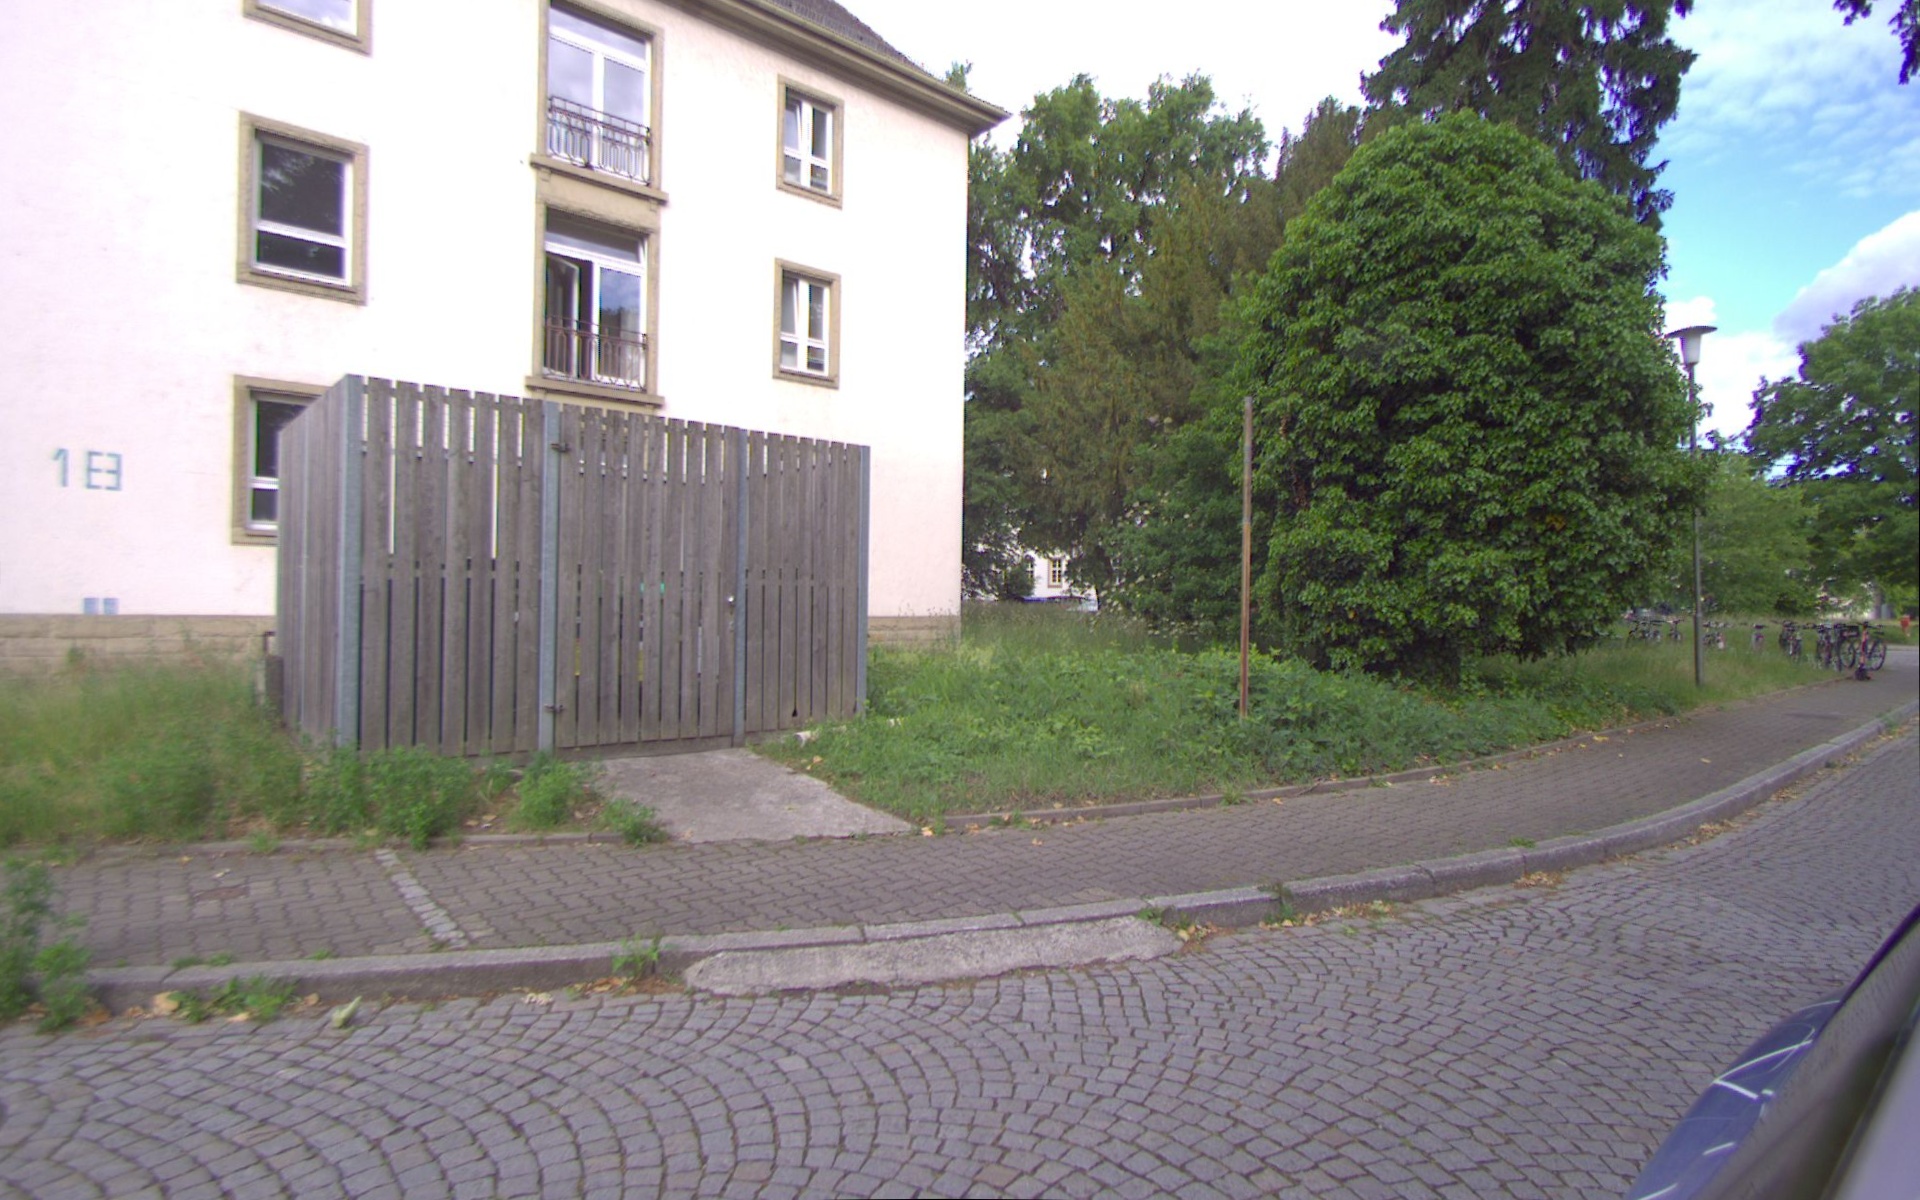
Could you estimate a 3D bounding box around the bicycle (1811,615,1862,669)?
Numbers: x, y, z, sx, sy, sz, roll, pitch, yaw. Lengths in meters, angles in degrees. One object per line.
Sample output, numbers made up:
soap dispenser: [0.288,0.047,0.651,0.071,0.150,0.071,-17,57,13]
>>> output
bicycle: [19.556,0.912,22.602,0.547,1.128,1.750,0,0,31]

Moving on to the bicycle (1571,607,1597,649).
bicycle: [17.423,0.760,28.241,0.440,1.126,1.629,0,0,38]

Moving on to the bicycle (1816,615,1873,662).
bicycle: [22.169,0.941,25.387,0.471,1.087,1.613,0,1,18]

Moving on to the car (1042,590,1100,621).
car: [6.237,0.289,56.820,3.193,1.682,1.437,0,0,-42]

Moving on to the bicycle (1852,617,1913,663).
bicycle: [22.607,0.969,24.829,0.471,1.020,1.613,0,1,18]

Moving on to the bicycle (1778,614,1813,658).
bicycle: [21.221,0.887,25.712,0.474,1.020,1.648,0,1,32]

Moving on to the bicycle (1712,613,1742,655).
bicycle: [20.182,0.875,26.641,0.474,1.020,1.648,0,1,32]

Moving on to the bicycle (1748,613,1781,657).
bicycle: [20.744,0.881,26.107,0.474,1.020,1.648,0,1,32]

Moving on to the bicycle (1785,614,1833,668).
bicycle: [19.112,0.905,22.813,0.547,1.128,1.785,0,0,31]

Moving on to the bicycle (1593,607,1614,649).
bicycle: [17.850,0.760,28.090,0.474,1.126,1.744,0,0,32]

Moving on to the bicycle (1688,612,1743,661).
bicycle: [17.755,0.839,23.819,0.611,1.078,1.811,0,0,23]

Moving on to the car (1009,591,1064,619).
car: [4.524,0.285,59.633,3.193,1.584,1.382,0,0,-42]

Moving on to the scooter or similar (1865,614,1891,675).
scooter or similar: [19.190,0.908,21.161,0.356,1.225,1.119,0,0,45]

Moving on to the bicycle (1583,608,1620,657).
bicycle: [16.322,0.814,25.726,0.549,1.186,1.728,0,0,41]

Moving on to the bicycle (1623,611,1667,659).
bicycle: [16.561,0.823,24.491,0.545,1.078,1.740,0,0,23]

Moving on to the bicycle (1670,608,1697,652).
bicycle: [19.281,0.777,26.987,0.474,1.126,1.744,0,0,32]

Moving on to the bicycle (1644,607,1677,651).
bicycle: [18.967,0.774,27.422,0.473,1.126,1.748,0,0,27]
